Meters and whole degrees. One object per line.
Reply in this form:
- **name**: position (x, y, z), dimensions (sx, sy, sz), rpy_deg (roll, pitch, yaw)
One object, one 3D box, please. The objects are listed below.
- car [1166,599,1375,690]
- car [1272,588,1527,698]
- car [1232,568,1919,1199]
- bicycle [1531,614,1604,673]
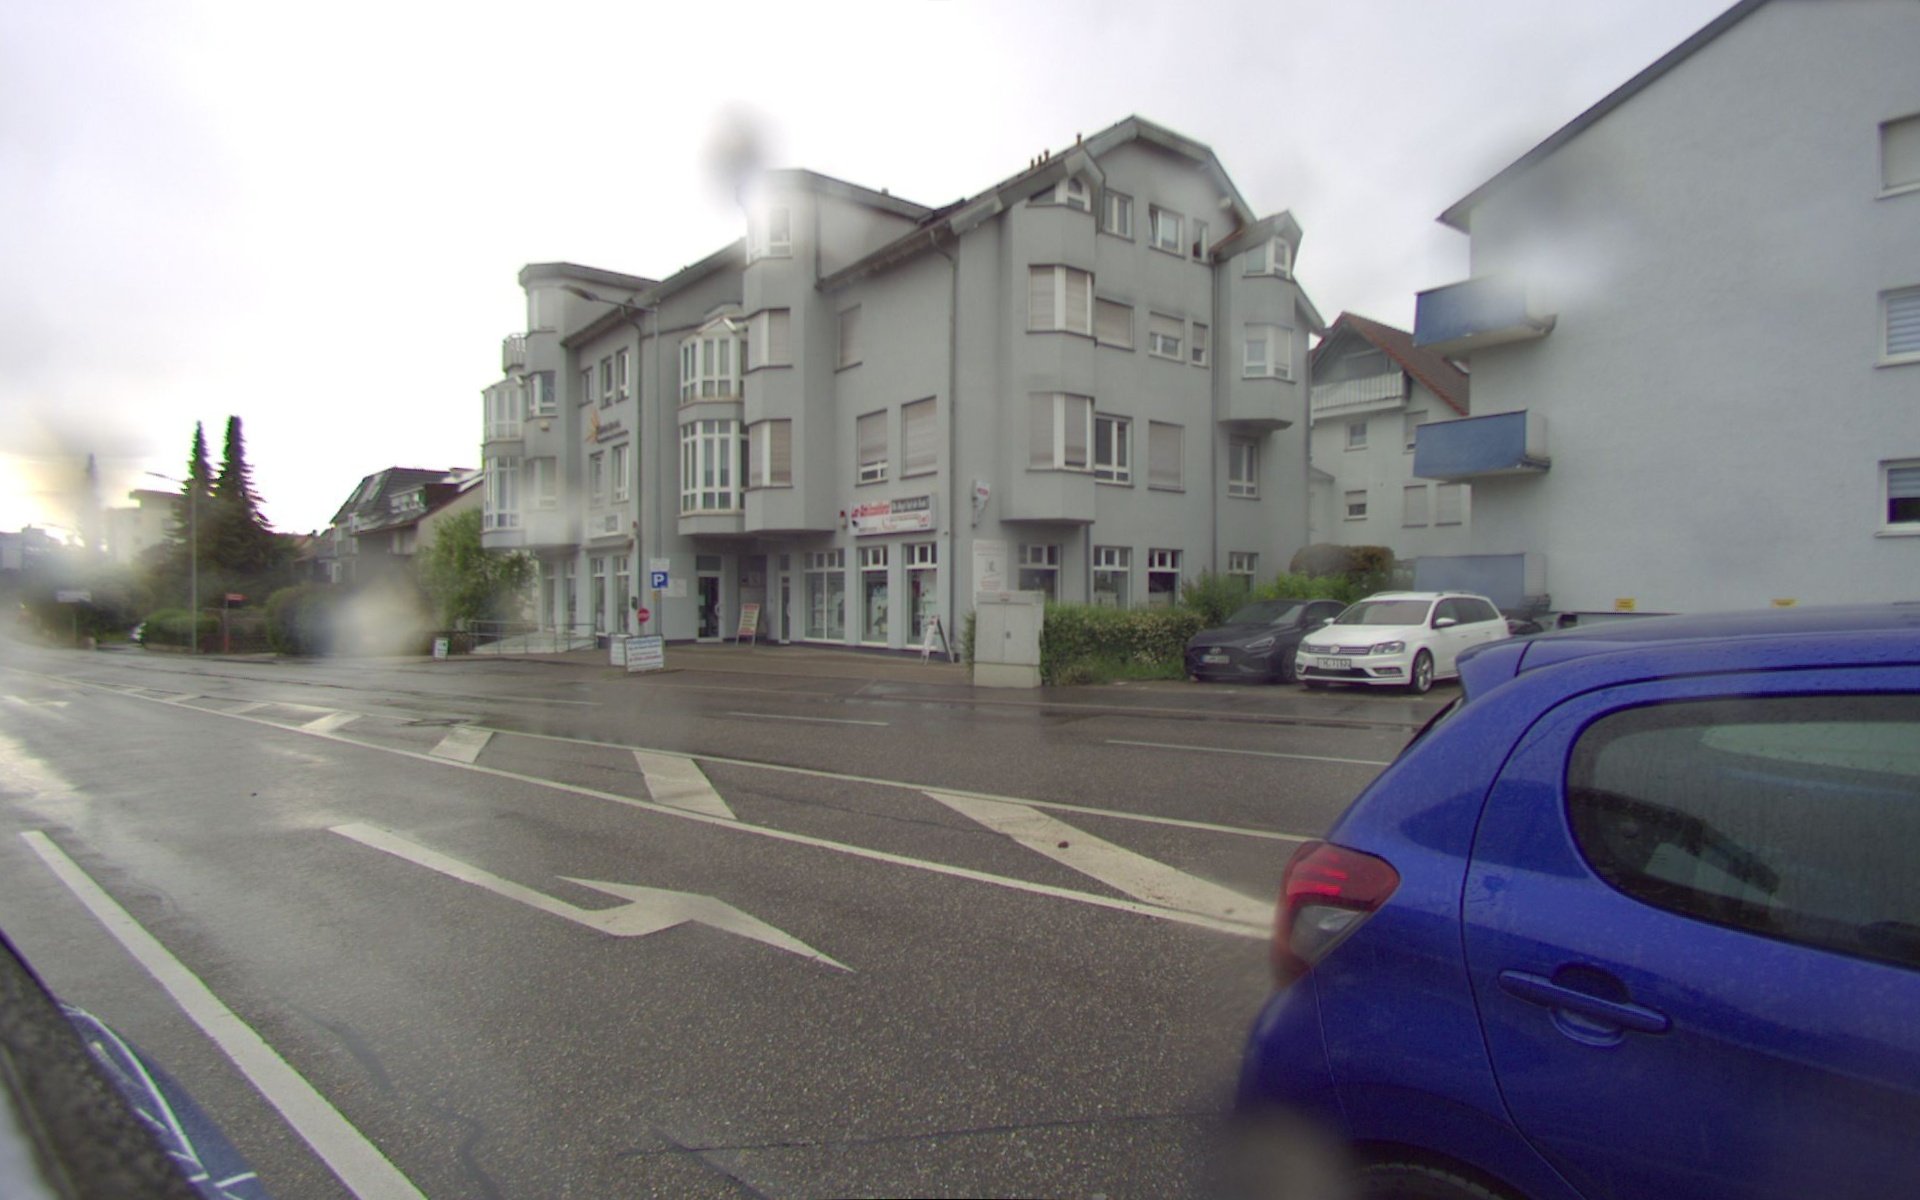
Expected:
- **car**: position (5.494, 0.693, 17.666), dimensions (1.851, 1.366, 3.941), rpy_deg (-1, 0, 45)
- **car**: position (6.983, 0.607, 15.821), dimensions (4.685, 1.471, 1.883), rpy_deg (0, -2, -42)
- **car**: position (2.236, 0.644, 1.213), dimensions (3.362, 1.423, 1.489), rpy_deg (-2, -1, 41)
- **bicycle**: position (11.145, 0.796, 18.577), dimensions (1.065, 1.061, 0.343), rpy_deg (-2, -1, 41)
